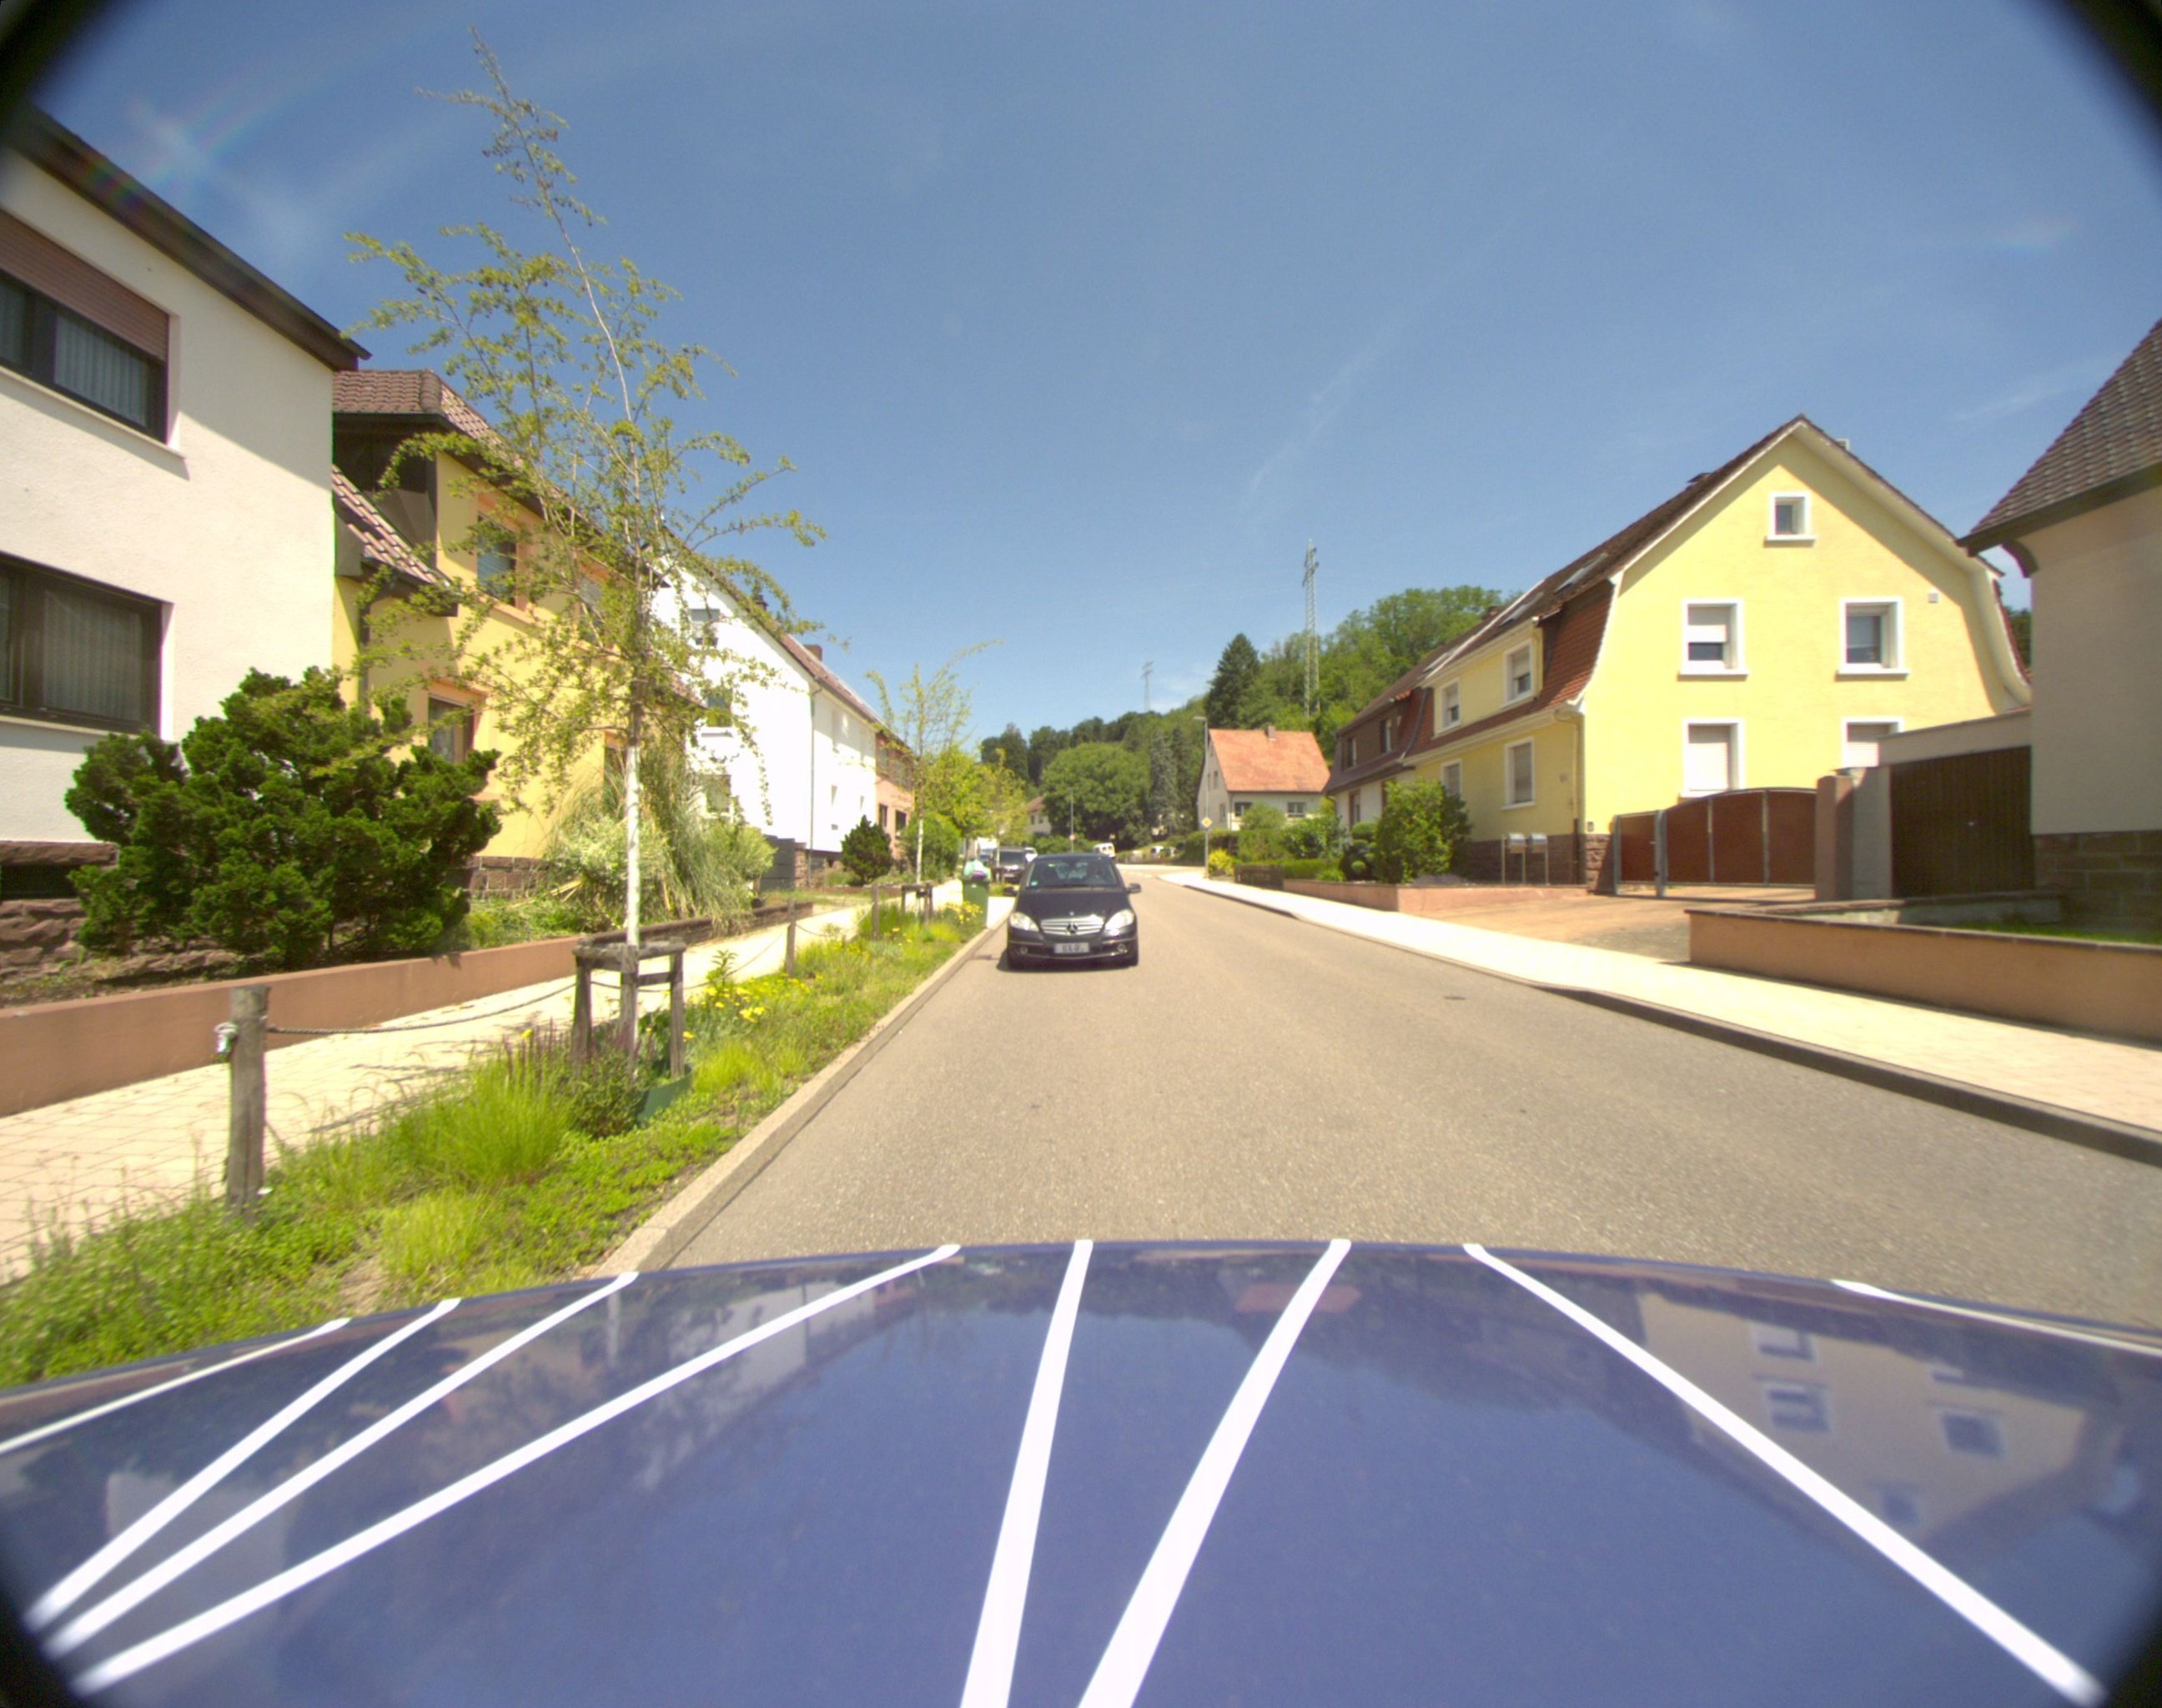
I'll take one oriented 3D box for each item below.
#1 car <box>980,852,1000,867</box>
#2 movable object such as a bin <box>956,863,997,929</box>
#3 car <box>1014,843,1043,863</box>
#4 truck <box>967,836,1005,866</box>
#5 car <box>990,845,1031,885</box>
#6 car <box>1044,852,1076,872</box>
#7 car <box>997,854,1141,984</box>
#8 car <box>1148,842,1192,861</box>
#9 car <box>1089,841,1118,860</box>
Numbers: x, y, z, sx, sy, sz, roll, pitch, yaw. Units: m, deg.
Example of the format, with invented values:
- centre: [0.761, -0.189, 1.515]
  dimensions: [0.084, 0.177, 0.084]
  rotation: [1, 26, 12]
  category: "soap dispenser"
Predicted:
- centre: [-8.661, 0.465, 72.191]
  dimensions: [1.676, 1.368, 3.996]
  rotation: [0, 0, -11]
  category: "car"
- centre: [-2.311, 0.917, 16.866]
  dimensions: [0.794, 1.387, 0.925]
  rotation: [-1, 1, -3]
  category: "movable object such as a bin"
- centre: [-4.909, -0.120, 70.922]
  dimensions: [1.970, 1.823, 4.459]
  rotation: [0, 0, -14]
  category: "car"
- centre: [-11.503, -0.331, 91.293]
  dimensions: [2.810, 3.394, 8.106]
  rotation: [-2, 1, -19]
  category: "truck"
- centre: [-3.424, 0.485, 37.766]
  dimensions: [1.860, 1.832, 4.668]
  rotation: [1, 0, -4]
  category: "car"
- centre: [-1.566, 0.536, 54.823]
  dimensions: [1.911, 1.342, 3.997]
  rotation: [-1, 1, -7]
  category: "car"
- centre: [-0.101, 0.831, 11.712]
  dimensions: [1.790, 1.595, 4.075]
  rotation: [-1, 1, 1]
  category: "car"
- centre: [9.034, -0.224, 76.855]
  dimensions: [4.004, 1.779, 1.807]
  rotation: [-2, 1, -23]
  category: "car"
- centre: [2.315, -0.351, 79.449]
  dimensions: [1.706, 1.938, 3.993]
  rotation: [-2, 1, -19]
  category: "car"
